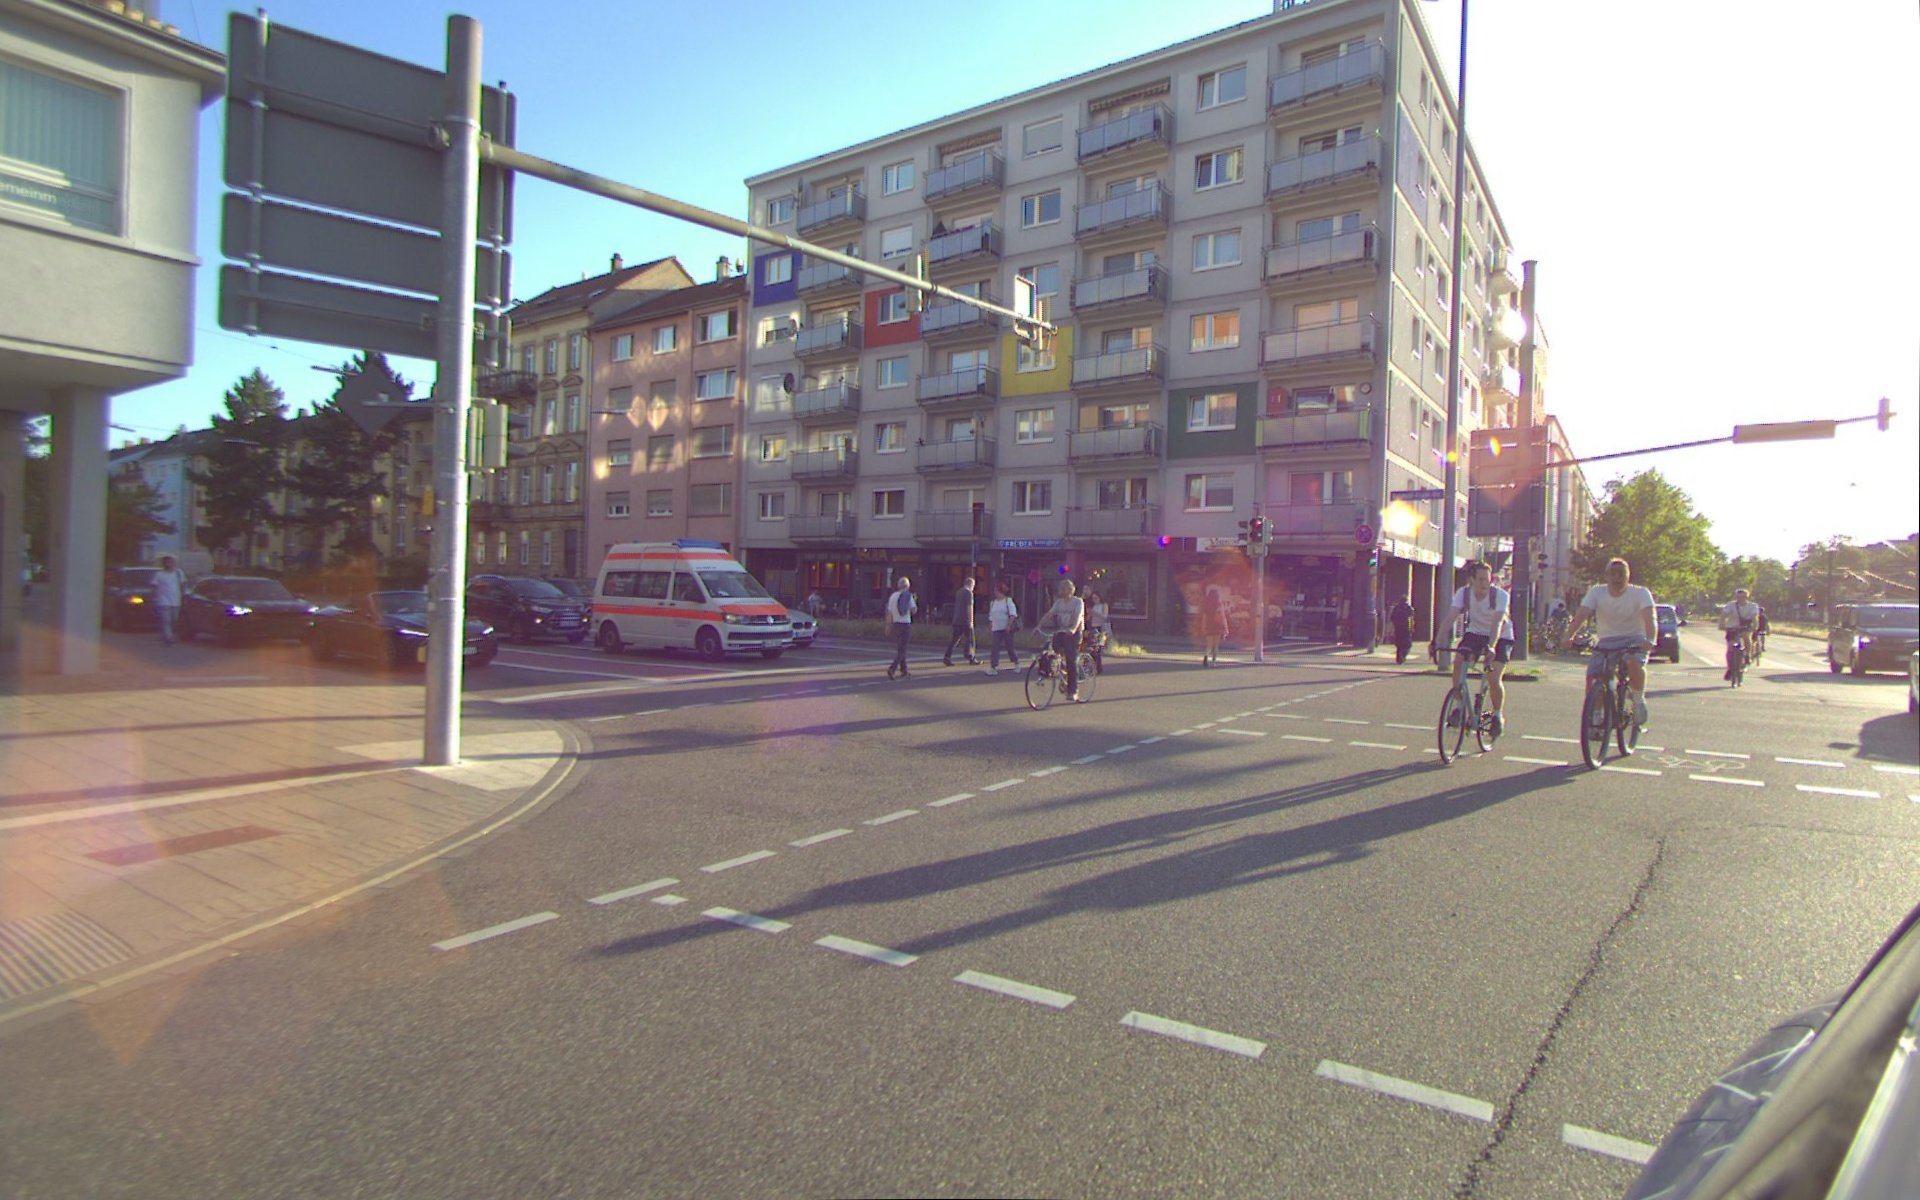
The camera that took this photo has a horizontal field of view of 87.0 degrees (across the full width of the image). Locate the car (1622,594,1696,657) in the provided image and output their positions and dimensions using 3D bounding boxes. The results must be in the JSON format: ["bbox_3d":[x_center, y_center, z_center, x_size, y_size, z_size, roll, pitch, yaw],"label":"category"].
[{"bbox_3d":[23.943,0.807,34.705,1.930,1.957,4.771,2,1,35],"label":"car"}]

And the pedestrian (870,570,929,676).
[{"bbox_3d":[-1.017,0.379,17.024,0.567,1.723,0.801,2,0,37],"label":"pedestrian"}]

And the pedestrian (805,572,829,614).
[{"bbox_3d":[-6.375,-0.312,45.067,0.725,1.798,0.700,2,0,42],"label":"pedestrian"}]

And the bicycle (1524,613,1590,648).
[{"bbox_3d":[19.926,0.996,33.772,1.860,1.074,0.600,2,1,34],"label":"bicycle"}]

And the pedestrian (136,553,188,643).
[{"bbox_3d":[-16.199,-0.050,20.551,0.815,1.778,0.631,2,0,38],"label":"pedestrian"}]

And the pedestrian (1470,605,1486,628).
[{"bbox_3d":[26.501,0.846,51.746,0.602,1.166,0.718,1,0,35],"label":"pedestrian"}]

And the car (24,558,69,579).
[{"bbox_3d":[-74.931,-2.561,82.967,3.820,1.616,1.852,2,1,34],"label":"car"}]

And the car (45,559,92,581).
[{"bbox_3d":[-69.911,-2.326,79.346,3.820,1.616,1.852,2,1,34],"label":"car"}]

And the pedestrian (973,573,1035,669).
[{"bbox_3d":[0.804,0.368,18.335,0.726,1.683,0.893,2,0,37],"label":"pedestrian"}]

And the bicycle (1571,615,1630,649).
[{"bbox_3d":[25.121,1.243,39.726,1.860,1.139,0.561,5,2,32],"label":"bicycle"}]

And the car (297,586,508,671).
[{"bbox_3d":[-10.696,0.465,19.276,4.651,1.358,1.815,2,1,38],"label":"car"}]

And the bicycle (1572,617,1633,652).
[{"bbox_3d":[23.992,1.279,37.831,1.860,1.139,0.561,5,2,32],"label":"bicycle"}]

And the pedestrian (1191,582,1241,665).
[{"bbox_3d":[5.141,0.452,20.296,0.681,1.609,0.736,2,0,40],"label":"pedestrian"}]

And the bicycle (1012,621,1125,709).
[{"bbox_3d":[1.456,0.816,13.315,0.520,0.993,1.822,2,2,42],"label":"bicycle"}]

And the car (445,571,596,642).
[{"bbox_3d":[-11.021,0.120,25.291,4.059,1.590,1.577,2,0,35],"label":"car"}]

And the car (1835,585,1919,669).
[{"bbox_3d":[24.511,0.666,26.410,1.908,2.015,4.886,1,1,34],"label":"car"}]

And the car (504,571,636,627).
[{"bbox_3d":[-11.333,-0.064,29.323,3.978,1.482,1.764,2,1,37],"label":"car"}]

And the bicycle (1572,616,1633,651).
[{"bbox_3d":[24.300,1.260,38.309,1.860,1.139,0.561,5,2,32],"label":"bicycle"}]

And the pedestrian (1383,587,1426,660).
[{"bbox_3d":[10.858,0.551,24.730,0.661,1.726,1.056,2,0,40],"label":"pedestrian"}]

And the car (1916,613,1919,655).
[{"bbox_3d":[32.245,1.143,32.294,1.832,1.419,4.526,-1,-1,35],"label":"car"}]

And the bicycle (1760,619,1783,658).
[{"bbox_3d":[25.409,1.184,31.704,0.527,1.173,1.824,0,0,37],"label":"bicycle"}]

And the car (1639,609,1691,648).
[{"bbox_3d":[28.772,1.123,41.316,1.677,1.499,3.494,0,-1,35],"label":"car"}]

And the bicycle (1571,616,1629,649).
[{"bbox_3d":[25.408,1.273,40.227,1.860,1.139,0.561,5,2,32],"label":"bicycle"}]

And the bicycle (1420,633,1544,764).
[{"bbox_3d":[4.821,0.849,9.293,0.575,1.041,1.828,0,0,42],"label":"bicycle"}]

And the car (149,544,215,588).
[{"bbox_3d":[-50.713,-2.202,65.934,4.517,2.755,2.065,2,0,34],"label":"car"}]

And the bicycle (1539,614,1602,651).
[{"bbox_3d":[21.961,1.151,36.400,1.860,1.139,0.561,5,2,32],"label":"bicycle"}]

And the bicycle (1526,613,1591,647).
[{"bbox_3d":[20.259,0.997,34.275,1.860,1.074,0.600,2,1,34],"label":"bicycle"}]

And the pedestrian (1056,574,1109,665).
[{"bbox_3d":[2.330,0.364,19.240,0.680,1.683,0.736,2,0,37],"label":"pedestrian"}]

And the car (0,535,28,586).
[{"bbox_3d":[-51.116,-2.109,53.005,6.391,2.555,2.098,2,1,36],"label":"car"}]

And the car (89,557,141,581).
[{"bbox_3d":[-60.648,-2.227,72.594,3.820,1.616,1.852,2,1,34],"label":"car"}]

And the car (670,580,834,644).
[{"bbox_3d":[-5.207,0.254,25.132,3.976,1.393,1.783,2,2,36],"label":"car"}]

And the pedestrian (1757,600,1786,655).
[{"bbox_3d":[25.475,0.852,31.771,0.675,1.669,0.889,0,-1,38],"label":"pedestrian"}]

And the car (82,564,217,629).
[{"bbox_3d":[-21.938,-0.132,27.358,3.979,1.594,1.973,2,1,38],"label":"car"}]

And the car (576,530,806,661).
[{"bbox_3d":[-5.871,-0.148,21.767,5.235,2.514,1.901,2,0,36],"label":"car"}]

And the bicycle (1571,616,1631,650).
[{"bbox_3d":[24.830,1.254,39.238,1.860,1.139,0.561,5,2,32],"label":"bicycle"}]

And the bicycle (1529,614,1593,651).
[{"bbox_3d":[21.319,1.145,35.914,1.860,1.139,0.561,5,2,32],"label":"bicycle"}]

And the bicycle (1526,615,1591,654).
[{"bbox_3d":[20.570,1.164,34.796,1.860,1.139,0.600,5,2,32],"label":"bicycle"}]

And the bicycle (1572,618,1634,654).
[{"bbox_3d":[23.696,1.305,37.348,1.860,1.139,0.561,5,2,32],"label":"bicycle"}]

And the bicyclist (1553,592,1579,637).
[{"bbox_3d":[25.453,0.598,42.504,0.740,1.830,1.367,1,0,38],"label":"bicyclist"}]

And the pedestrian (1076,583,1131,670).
[{"bbox_3d":[2.601,0.461,18.346,0.680,1.518,0.736,2,0,37],"label":"pedestrian"}]

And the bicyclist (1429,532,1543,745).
[{"bbox_3d":[4.849,0.326,9.314,0.673,1.830,0.978,1,0,42],"label":"bicyclist"}]

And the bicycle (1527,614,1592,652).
[{"bbox_3d":[20.885,1.143,35.283,1.860,1.139,0.561,5,2,32],"label":"bicycle"}]

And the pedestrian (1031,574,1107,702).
[{"bbox_3d":[1.434,0.469,13.299,0.675,1.609,0.750,2,2,42],"label":"pedestrian"}]

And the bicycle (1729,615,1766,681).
[{"bbox_3d":[15.013,0.889,19.294,0.527,1.173,1.823,0,0,38],"label":"bicycle"}]

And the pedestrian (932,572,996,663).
[{"bbox_3d":[0.077,0.333,19.954,0.781,1.723,1.013,2,0,37],"label":"pedestrian"}]

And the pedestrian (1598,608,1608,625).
[{"bbox_3d":[58.926,1.501,92.690,0.723,1.458,0.913,1,0,34],"label":"pedestrian"}]

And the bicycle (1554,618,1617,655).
[{"bbox_3d":[22.683,1.307,36.726,1.860,1.139,0.561,5,2,32],"label":"bicycle"}]

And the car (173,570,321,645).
[{"bbox_3d":[-16.355,0.132,23.176,3.754,1.529,1.732,2,1,38],"label":"car"}]

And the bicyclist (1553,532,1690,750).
[{"bbox_3d":[5.994,0.336,9.158,0.827,1.830,1.040,1,0,45],"label":"bicyclist"}]

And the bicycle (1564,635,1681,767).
[{"bbox_3d":[6.076,0.868,9.241,1.948,1.041,0.478,1,-1,-44],"label":"bicycle"}]

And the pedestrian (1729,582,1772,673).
[{"bbox_3d":[14.920,0.507,19.108,0.637,1.669,0.831,0,-1,38],"label":"pedestrian"}]
